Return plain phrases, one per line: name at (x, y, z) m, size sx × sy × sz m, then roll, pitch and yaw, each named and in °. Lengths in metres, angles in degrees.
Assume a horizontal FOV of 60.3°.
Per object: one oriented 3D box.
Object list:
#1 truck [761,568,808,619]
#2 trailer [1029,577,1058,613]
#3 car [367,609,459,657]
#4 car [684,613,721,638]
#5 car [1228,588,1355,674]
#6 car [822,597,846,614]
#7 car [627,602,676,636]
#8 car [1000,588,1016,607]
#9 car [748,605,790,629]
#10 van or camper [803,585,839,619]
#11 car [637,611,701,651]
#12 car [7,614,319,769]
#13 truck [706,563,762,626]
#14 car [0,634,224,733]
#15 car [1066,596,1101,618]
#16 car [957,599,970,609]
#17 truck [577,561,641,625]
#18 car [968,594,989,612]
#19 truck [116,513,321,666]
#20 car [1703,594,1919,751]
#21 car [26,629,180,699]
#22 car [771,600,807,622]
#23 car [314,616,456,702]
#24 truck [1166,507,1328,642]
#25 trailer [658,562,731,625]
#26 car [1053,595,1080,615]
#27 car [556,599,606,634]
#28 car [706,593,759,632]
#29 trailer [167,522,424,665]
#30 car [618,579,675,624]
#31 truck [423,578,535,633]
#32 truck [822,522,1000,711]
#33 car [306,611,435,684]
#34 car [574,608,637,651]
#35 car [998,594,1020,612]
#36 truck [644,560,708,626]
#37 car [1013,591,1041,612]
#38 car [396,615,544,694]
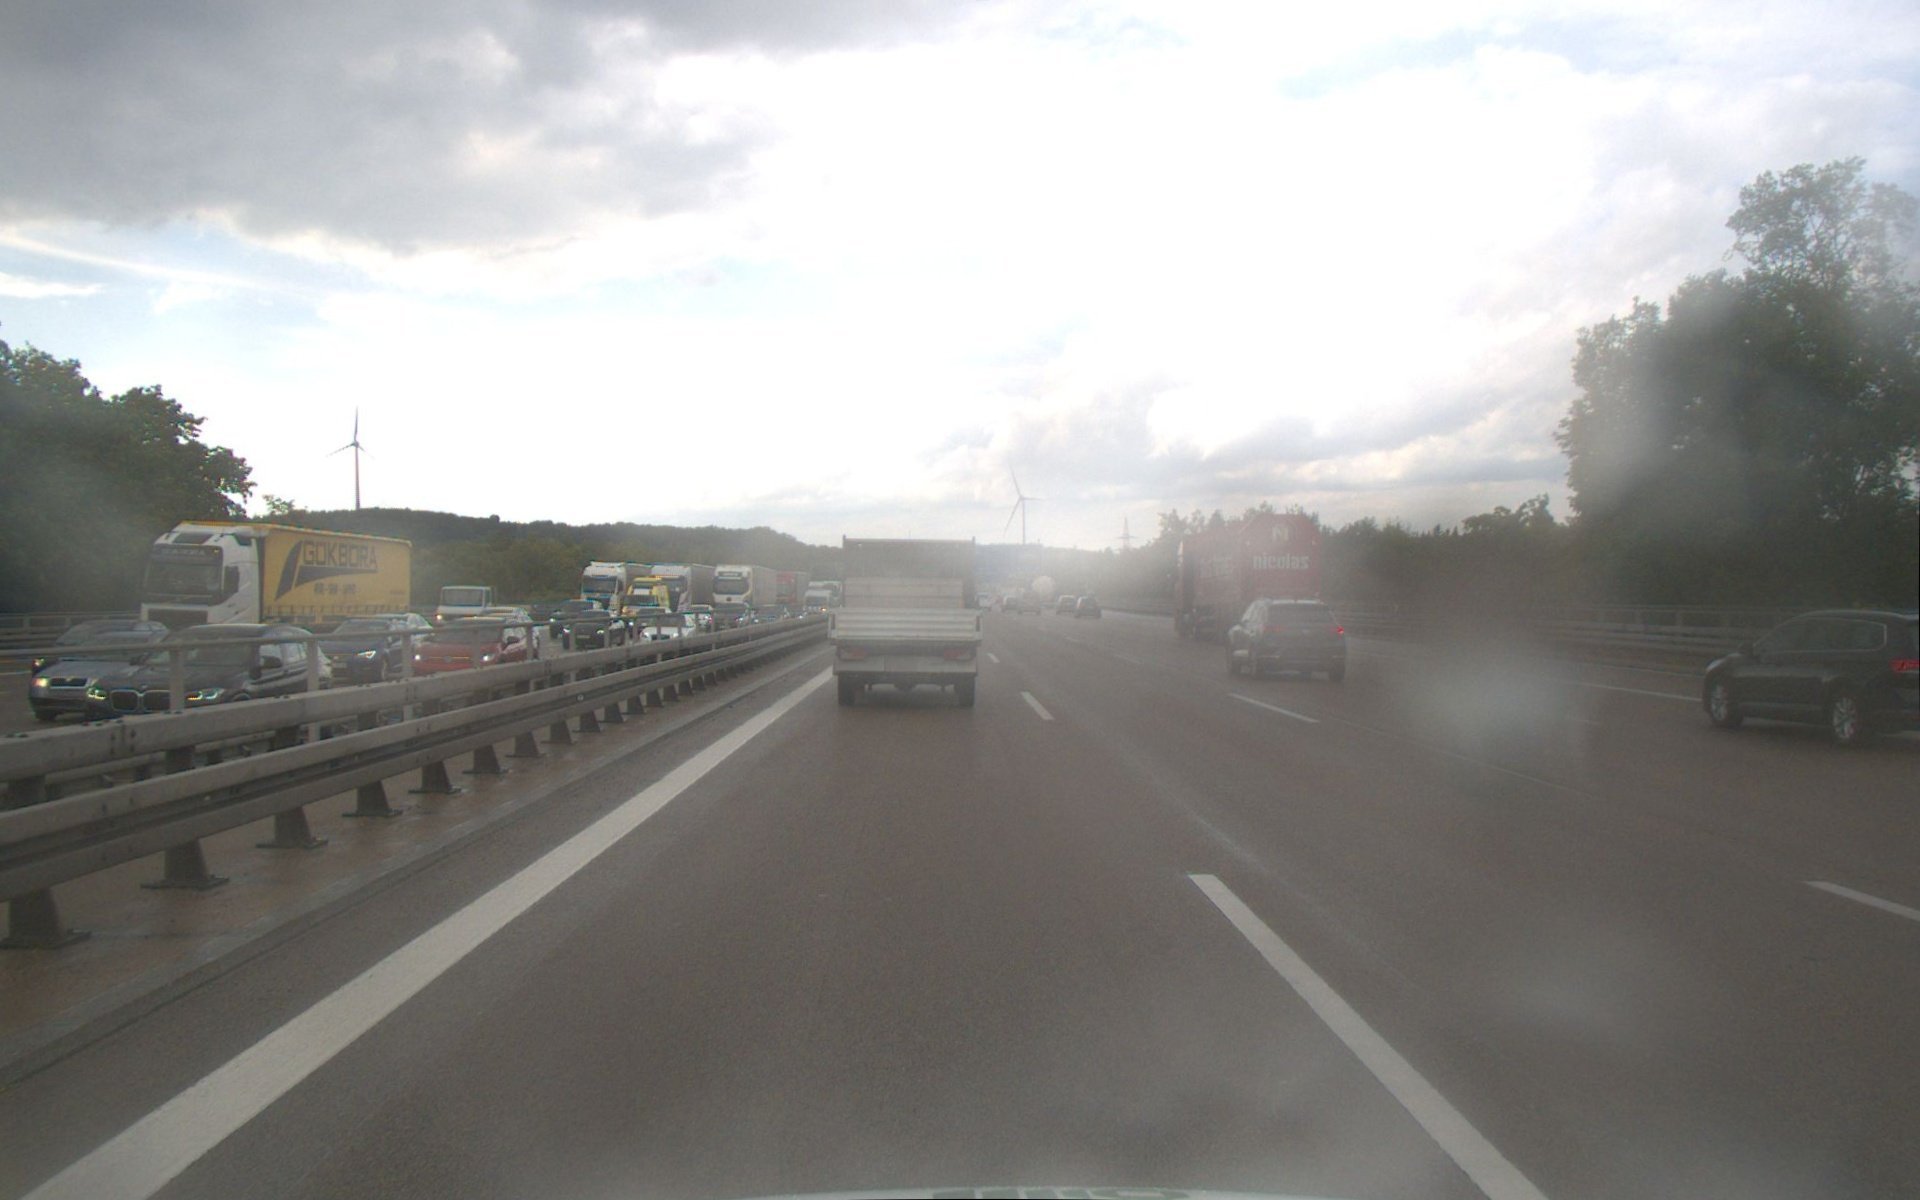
truck at (-15.228, -0.536, 144.407) m, size 2.923 × 4.221 × 12.521 m, roll -1°, pitch 0°, yaw -1°
trailer at (10.233, -0.624, 203.893) m, size 3.264 × 4.249 × 11.840 m, roll 1°, pitch 0°, yaw 1°
car at (-17.994, 1.055, 54.566) m, size 1.786 × 1.463 × 4.051 m, roll -1°, pitch 0°, yaw -2°
car at (-15.266, 1.491, 98.161) m, size 1.569 × 1.411 × 4.099 m, roll -1°, pitch 0°, yaw -1°
car at (6.472, 0.583, 32.630) m, size 1.755 × 1.590 × 3.721 m, roll 1°, pitch 0°, yaw 0°
car at (-11.636, 0.503, 152.798) m, size 1.883 × 1.443 × 5.011 m, roll -1°, pitch 0°, yaw -1°
car at (-15.214, 0.896, 81.850) m, size 1.712 × 1.604 × 4.687 m, roll -1°, pitch 0°, yaw -2°
car at (6.336, -0.363, 219.372) m, size 2.003 × 2.541 × 4.001 m, roll 0°, pitch 0°, yaw 1°
car at (-11.472, 1.007, 99.715) m, size 1.974 × 1.411 × 5.458 m, roll -1°, pitch 0°, yaw -1°
van or camper at (-10.746, 0.145, 128.567) m, size 2.232 × 2.539 × 7.301 m, roll -1°, pitch 0°, yaw -1°
car at (-10.876, 1.135, 62.105) m, size 1.727 × 1.407 × 4.818 m, roll -1°, pitch 0°, yaw -2°
car at (-10.283, 1.088, 21.852) m, size 1.830 × 1.699 × 5.171 m, roll -1°, pitch 0°, yaw -3°
truck at (-15.621, -0.374, 114.802) m, size 2.822 × 4.253 × 7.556 m, roll -1°, pitch 0°, yaw -1°
car at (-14.411, 1.360, 28.347) m, size 1.780 × 1.450 × 4.474 m, roll -1°, pitch 0°, yaw -3°
car at (9.175, 0.499, 123.007) m, size 2.062 × 1.634 × 5.063 m, roll 0°, pitch 0°, yaw -2°
car at (0.444, 0.608, 243.904) m, size 1.775 × 1.471 × 3.999 m, roll -1°, pitch 0°, yaw -2°
truck at (-23.179, -0.434, 109.594) m, size 2.702 × 4.063 × 6.577 m, roll -1°, pitch 0°, yaw 1°
car at (1.867, 0.278, 167.507) m, size 1.932 × 1.729 × 3.998 m, roll 0°, pitch 0°, yaw -2°
truck at (-22.479, -0.293, 50.631) m, size 3.181 × 4.324 × 6.881 m, roll -1°, pitch 0°, yaw -1°
car at (10.389, 0.723, 18.842) m, size 1.778 × 1.570 × 4.356 m, roll 0°, pitch 0°, yaw -2°
car at (-18.381, 1.337, 35.659) m, size 1.418 × 1.323 × 3.997 m, roll -1°, pitch 0°, yaw -3°
car at (-11.554, 0.715, 111.982) m, size 1.883 × 1.443 × 5.164 m, roll -1°, pitch 0°, yaw -1°
car at (-12.744, 1.264, 36.889) m, size 1.819 × 1.738 × 3.999 m, roll -1°, pitch 0°, yaw -1°
truck at (9.662, -0.819, 57.848) m, size 3.087 × 4.073 × 15.637 m, roll 0°, pitch 0°, yaw 0°
trailer at (-18.773, -0.469, 117.814) m, size 2.821 × 4.218 × 13.030 m, roll -1°, pitch 0°, yaw 1°
car at (9.378, 0.458, 145.944) m, size 2.003 × 1.729 × 5.006 m, roll 0°, pitch 0°, yaw -1°
car at (-18.384, 0.784, 80.331) m, size 1.502 × 1.624 × 3.999 m, roll -1°, pitch 0°, yaw -1°
car at (-11.093, 0.589, 80.833) m, size 1.874 × 1.797 × 5.331 m, roll -1°, pitch 0°, yaw -1°
trailer at (-22.533, -0.204, 57.465) m, size 3.181 × 4.302 × 14.507 m, roll -1°, pitch 0°, yaw -1°
car at (-18.529, 0.104, 98.128) m, size 2.112 × 2.548 × 6.771 m, roll -1°, pitch 0°, yaw -1°
truck at (-22.414, 0.229, 77.622) m, size 2.626 × 2.413 × 9.273 m, roll -1°, pitch 0°, yaw -1°
truck at (-0.771, 0.203, 25.438) m, size 2.305 × 2.450 × 7.355 m, roll 1°, pitch 0°, yaw -2°
car at (-14.452, 1.117, 40.799) m, size 1.744 × 1.640 × 4.574 m, roll -1°, pitch 0°, yaw -3°
car at (-14.024, 1.149, 65.638) m, size 1.712 × 1.604 × 4.416 m, roll -1°, pitch 0°, yaw -2°
car at (4.674, 0.288, 158.716) m, size 2.003 × 1.729 × 4.000 m, roll 0°, pitch 0°, yaw 1°
truck at (-18.924, -0.462, 110.657) m, size 2.844 × 4.219 × 7.102 m, roll -1°, pitch 0°, yaw 1°
car at (5.714, 0.120, 141.417) m, size 2.055 × 1.729 × 3.998 m, roll 0°, pitch 0°, yaw -2°
car at (-10.473, 1.125, 35.710) m, size 1.954 × 1.488 × 4.839 m, roll -1°, pitch 0°, yaw -3°
